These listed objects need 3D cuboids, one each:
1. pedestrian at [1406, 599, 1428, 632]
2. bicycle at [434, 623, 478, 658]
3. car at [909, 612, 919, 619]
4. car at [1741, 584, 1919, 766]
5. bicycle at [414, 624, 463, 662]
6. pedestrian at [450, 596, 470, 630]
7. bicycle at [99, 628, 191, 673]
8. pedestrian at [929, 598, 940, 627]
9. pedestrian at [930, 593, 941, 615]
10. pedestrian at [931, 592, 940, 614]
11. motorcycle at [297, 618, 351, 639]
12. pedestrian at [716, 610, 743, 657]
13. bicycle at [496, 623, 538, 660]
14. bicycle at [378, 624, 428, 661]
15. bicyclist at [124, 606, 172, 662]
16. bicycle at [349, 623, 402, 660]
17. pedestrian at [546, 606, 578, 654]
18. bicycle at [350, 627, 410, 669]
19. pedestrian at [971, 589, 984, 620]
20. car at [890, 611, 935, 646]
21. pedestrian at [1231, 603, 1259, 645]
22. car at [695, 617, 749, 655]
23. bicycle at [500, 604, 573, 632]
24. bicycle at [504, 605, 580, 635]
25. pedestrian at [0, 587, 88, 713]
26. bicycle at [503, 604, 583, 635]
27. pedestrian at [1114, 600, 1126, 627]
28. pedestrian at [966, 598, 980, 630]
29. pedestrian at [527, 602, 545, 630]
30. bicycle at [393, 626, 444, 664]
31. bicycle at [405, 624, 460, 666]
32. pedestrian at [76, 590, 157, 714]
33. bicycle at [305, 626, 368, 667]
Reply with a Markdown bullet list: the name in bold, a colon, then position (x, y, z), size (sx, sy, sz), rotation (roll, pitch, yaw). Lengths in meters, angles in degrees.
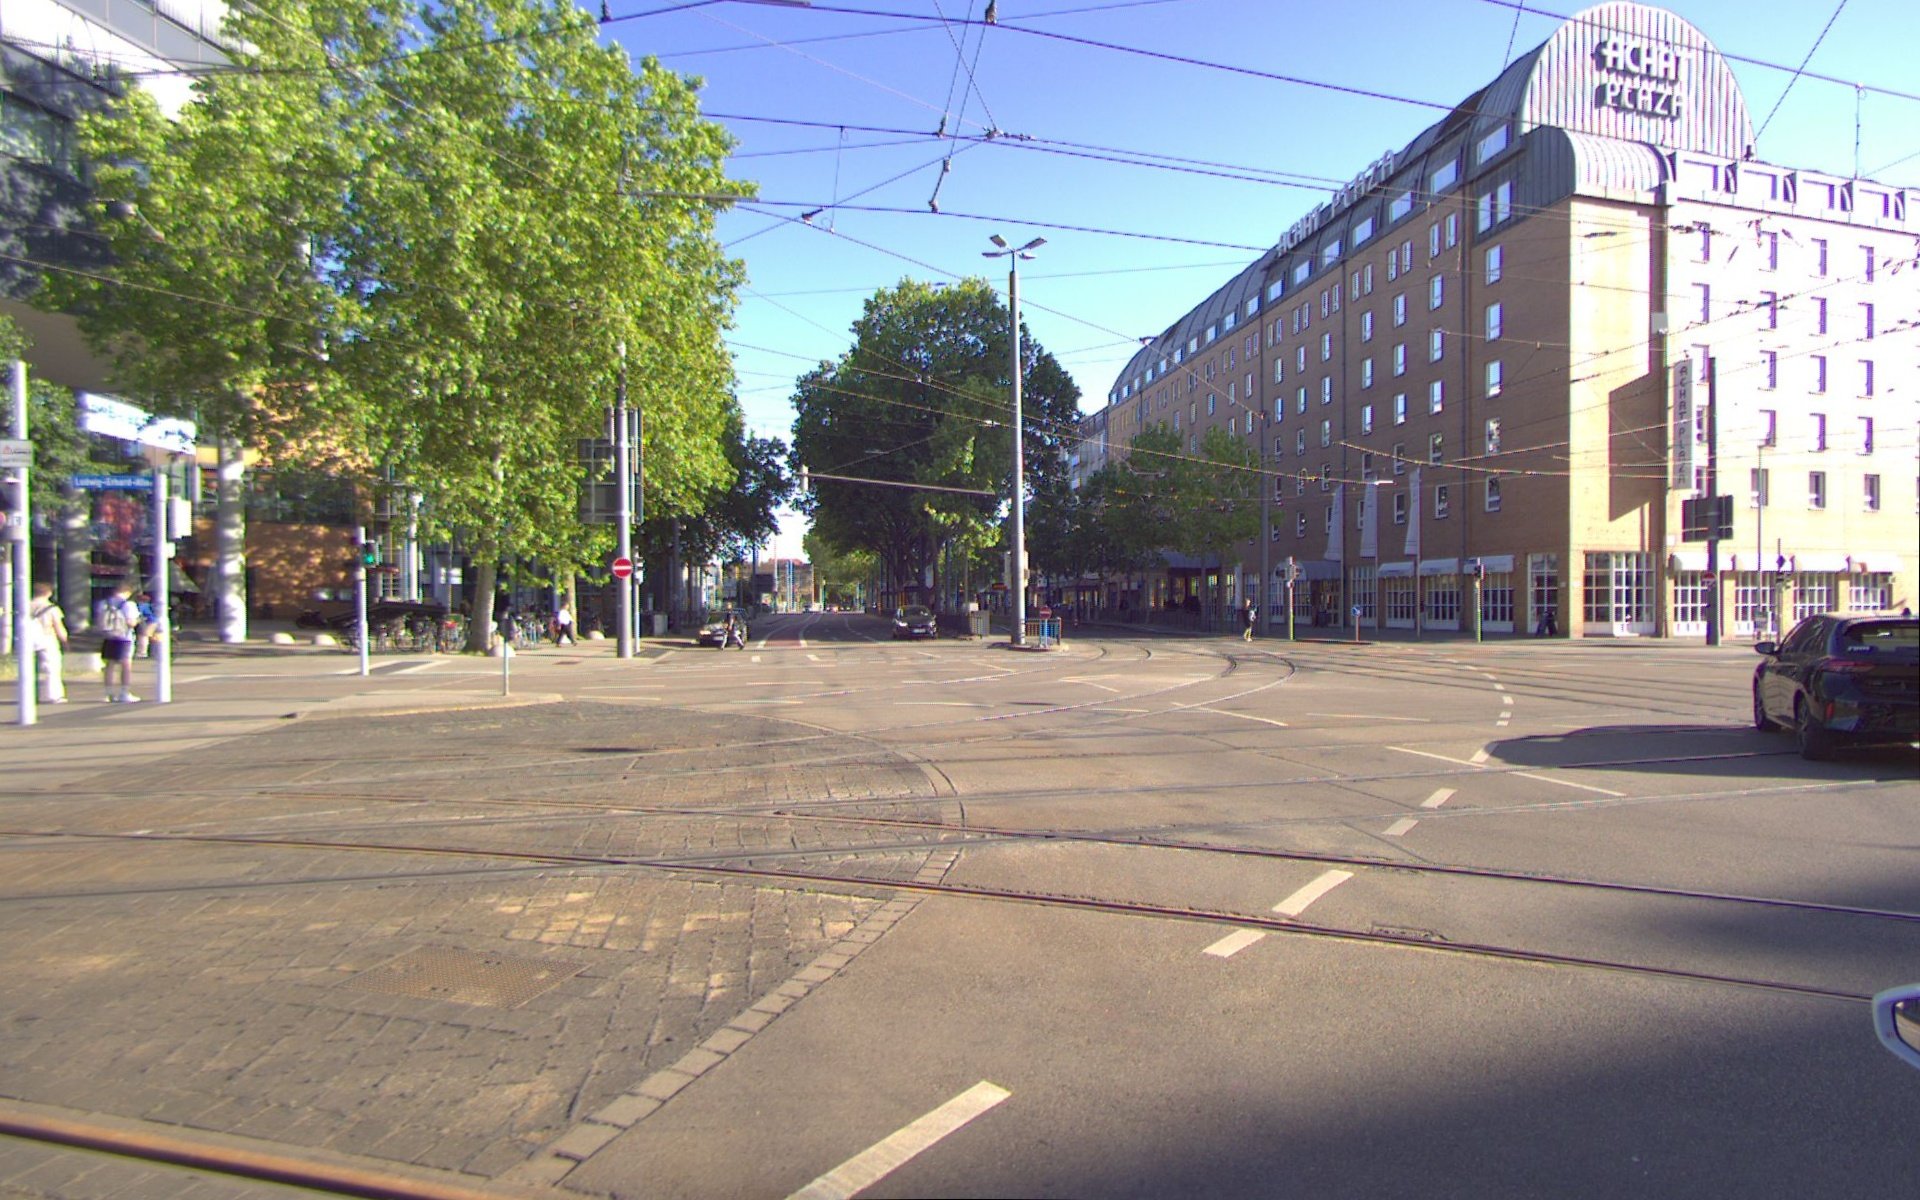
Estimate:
- **pedestrian**: position (24.074, 0.823, 52.936), size (0.728, 1.688, 0.751), rotation (-1, 1, -14)
- **bicycle**: position (-17.847, 1.410, 35.609), size (0.588, 1.143, 2.364), rotation (-1, 0, -6)
- **car**: position (-9.494, 3.195, 207.987), size (1.589, 1.522, 3.685), rotation (0, 1, -8)
- **car**: position (9.537, 0.667, 10.504), size (1.648, 1.522, 3.681), rotation (4, 4, 31)
- **bicycle**: position (-17.193, 1.397, 33.176), size (0.588, 1.143, 2.364), rotation (-1, 0, -6)
- **pedestrian**: position (-25.292, 0.642, 50.793), size (0.686, 1.674, 0.705), rotation (0, 1, -8)
- **bicycle**: position (-21.955, 1.363, 27.086), size (1.816, 1.152, 0.693), rotation (-1, 0, -6)
- **pedestrian**: position (-1.562, 0.772, 62.104), size (0.580, 1.824, 0.745), rotation (0, 1, 8)
- **pedestrian**: position (-1.758, 0.297, 72.158), size (0.478, 1.594, 0.670), rotation (2, 3, 35)
- **pedestrian**: position (-1.833, 0.204, 74.918), size (0.554, 1.594, 0.639), rotation (0, 2, 4)
- **motorcycle**: position (-33.173, 1.467, 52.390), size (2.296, 1.072, 0.832), rotation (0, 1, 3)
- **pedestrian**: position (-8.583, 1.238, 37.379), size (0.815, 1.702, 0.716), rotation (-2, 1, -5)
- **bicycle**: position (-14.897, 1.374, 33.843), size (0.588, 1.143, 2.364), rotation (-1, 0, -6)
- **bicycle**: position (-18.711, 1.415, 33.798), size (0.588, 1.143, 2.364), rotation (-1, 0, -6)
- **bicyclist**: position (-21.884, 0.897, 27.085), size (0.740, 1.480, 0.693), rotation (-1, 0, -6)
- **bicycle**: position (-19.595, 1.362, 33.739), size (0.588, 1.143, 2.364), rotation (-1, 0, -6)
- **pedestrian**: position (-14.430, 1.069, 36.415), size (0.815, 1.702, 0.716), rotation (-2, 1, 2)
- **bicycle**: position (-17.468, 1.427, 30.323), size (0.587, 1.143, 2.365), rotation (-1, 0, -5)
- **pedestrian**: position (1.055, 0.262, 59.447), size (0.625, 1.853, 0.743), rotation (0, 1, -13)
- **car**: position (-2.115, 1.211, 43.750), size (1.641, 1.433, 3.995), rotation (0, 0, -8)
- **pedestrian**: position (11.857, 0.988, 41.802), size (0.817, 1.702, 0.714), rotation (-2, 1, -14)
- **car**: position (-9.635, 1.418, 40.921), size (1.640, 1.425, 3.996), rotation (0, 0, -6)
- **bicycle**: position (-21.285, 0.894, 50.552), size (3.312, 1.371, 1.030), rotation (-1, 0, -22)
- **bicycle**: position (-19.856, 0.928, 47.838), size (3.312, 1.371, 1.030), rotation (-1, 0, -22)
- **pedestrian**: position (-14.140, 0.748, 15.516), size (0.686, 1.895, 0.733), rotation (-1, 0, -6)
- **bicycle**: position (-19.042, 0.884, 45.992), size (3.312, 1.371, 1.030), rotation (-1, 0, -22)
- **pedestrian**: position (10.225, 0.831, 64.231), size (0.595, 1.702, 0.486), rotation (-2, 1, -8)
- **pedestrian**: position (0.782, 0.829, 60.022), size (0.581, 1.853, 0.744), rotation (0, 1, 23)
- **pedestrian**: position (-25.023, 0.967, 59.266), size (0.686, 1.644, 0.733), rotation (-1, 0, 25)
- **bicycle**: position (-17.849, 1.455, 33.173), size (0.588, 1.143, 2.364), rotation (-1, 0, -6)
- **bicycle**: position (-16.033, 1.351, 30.572), size (0.587, 1.143, 2.365), rotation (-1, 0, -5)
- **pedestrian**: position (-13.269, 0.800, 15.820), size (0.661, 1.895, 0.733), rotation (-1, 0, -8)
- **bicycle**: position (-19.008, 1.389, 30.668), size (0.587, 1.143, 2.365), rotation (-1, 0, -5)
